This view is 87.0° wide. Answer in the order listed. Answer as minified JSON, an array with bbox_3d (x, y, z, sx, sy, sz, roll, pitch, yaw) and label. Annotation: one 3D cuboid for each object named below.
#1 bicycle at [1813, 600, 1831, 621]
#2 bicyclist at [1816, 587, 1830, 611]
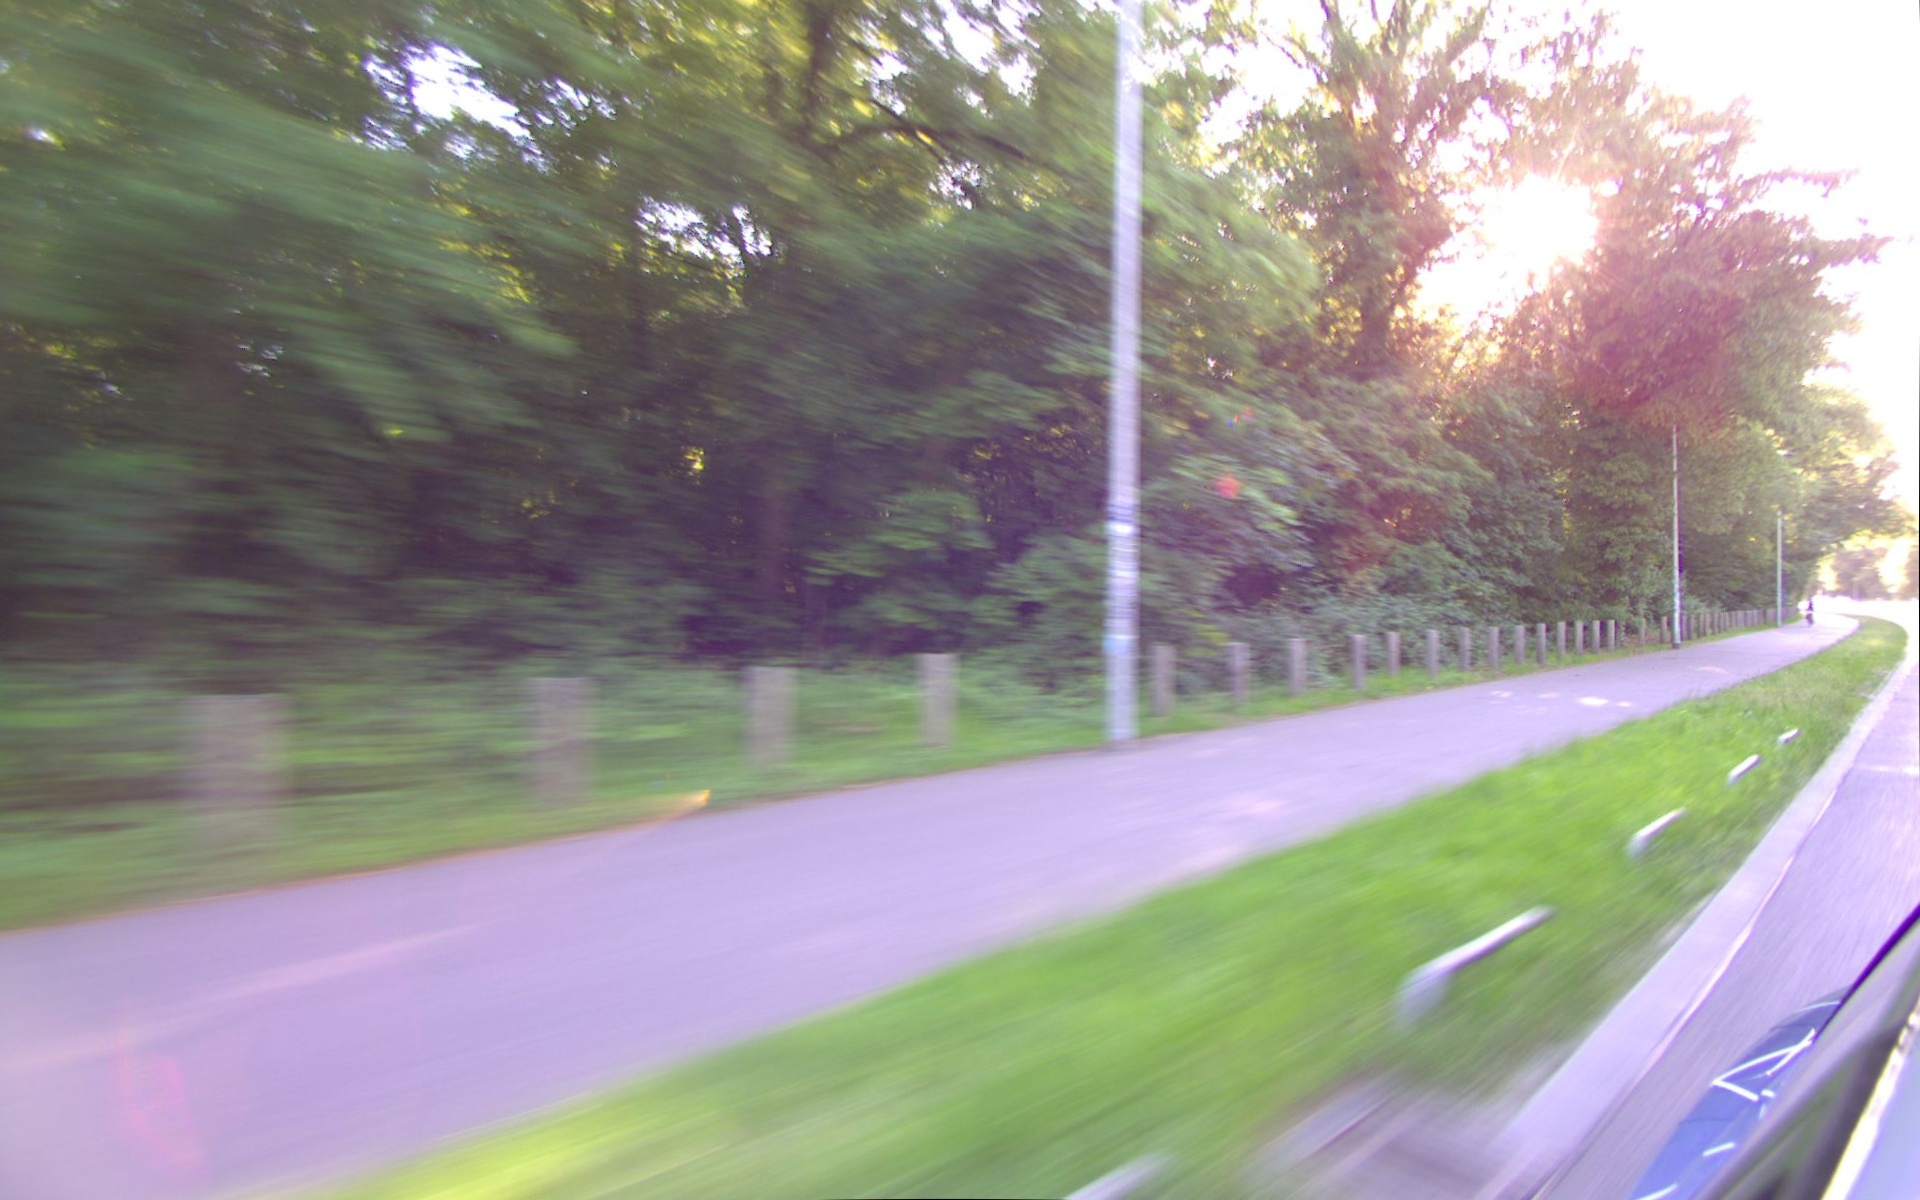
[{"bbox_3d":[45.929,0.536,53.912,0.606,1.071,2.830,0,0,43],"label":"bicycle"},{"bbox_3d":[45.687,-0.061,53.570,0.513,1.283,0.490,0,-1,44],"label":"bicyclist"}]
